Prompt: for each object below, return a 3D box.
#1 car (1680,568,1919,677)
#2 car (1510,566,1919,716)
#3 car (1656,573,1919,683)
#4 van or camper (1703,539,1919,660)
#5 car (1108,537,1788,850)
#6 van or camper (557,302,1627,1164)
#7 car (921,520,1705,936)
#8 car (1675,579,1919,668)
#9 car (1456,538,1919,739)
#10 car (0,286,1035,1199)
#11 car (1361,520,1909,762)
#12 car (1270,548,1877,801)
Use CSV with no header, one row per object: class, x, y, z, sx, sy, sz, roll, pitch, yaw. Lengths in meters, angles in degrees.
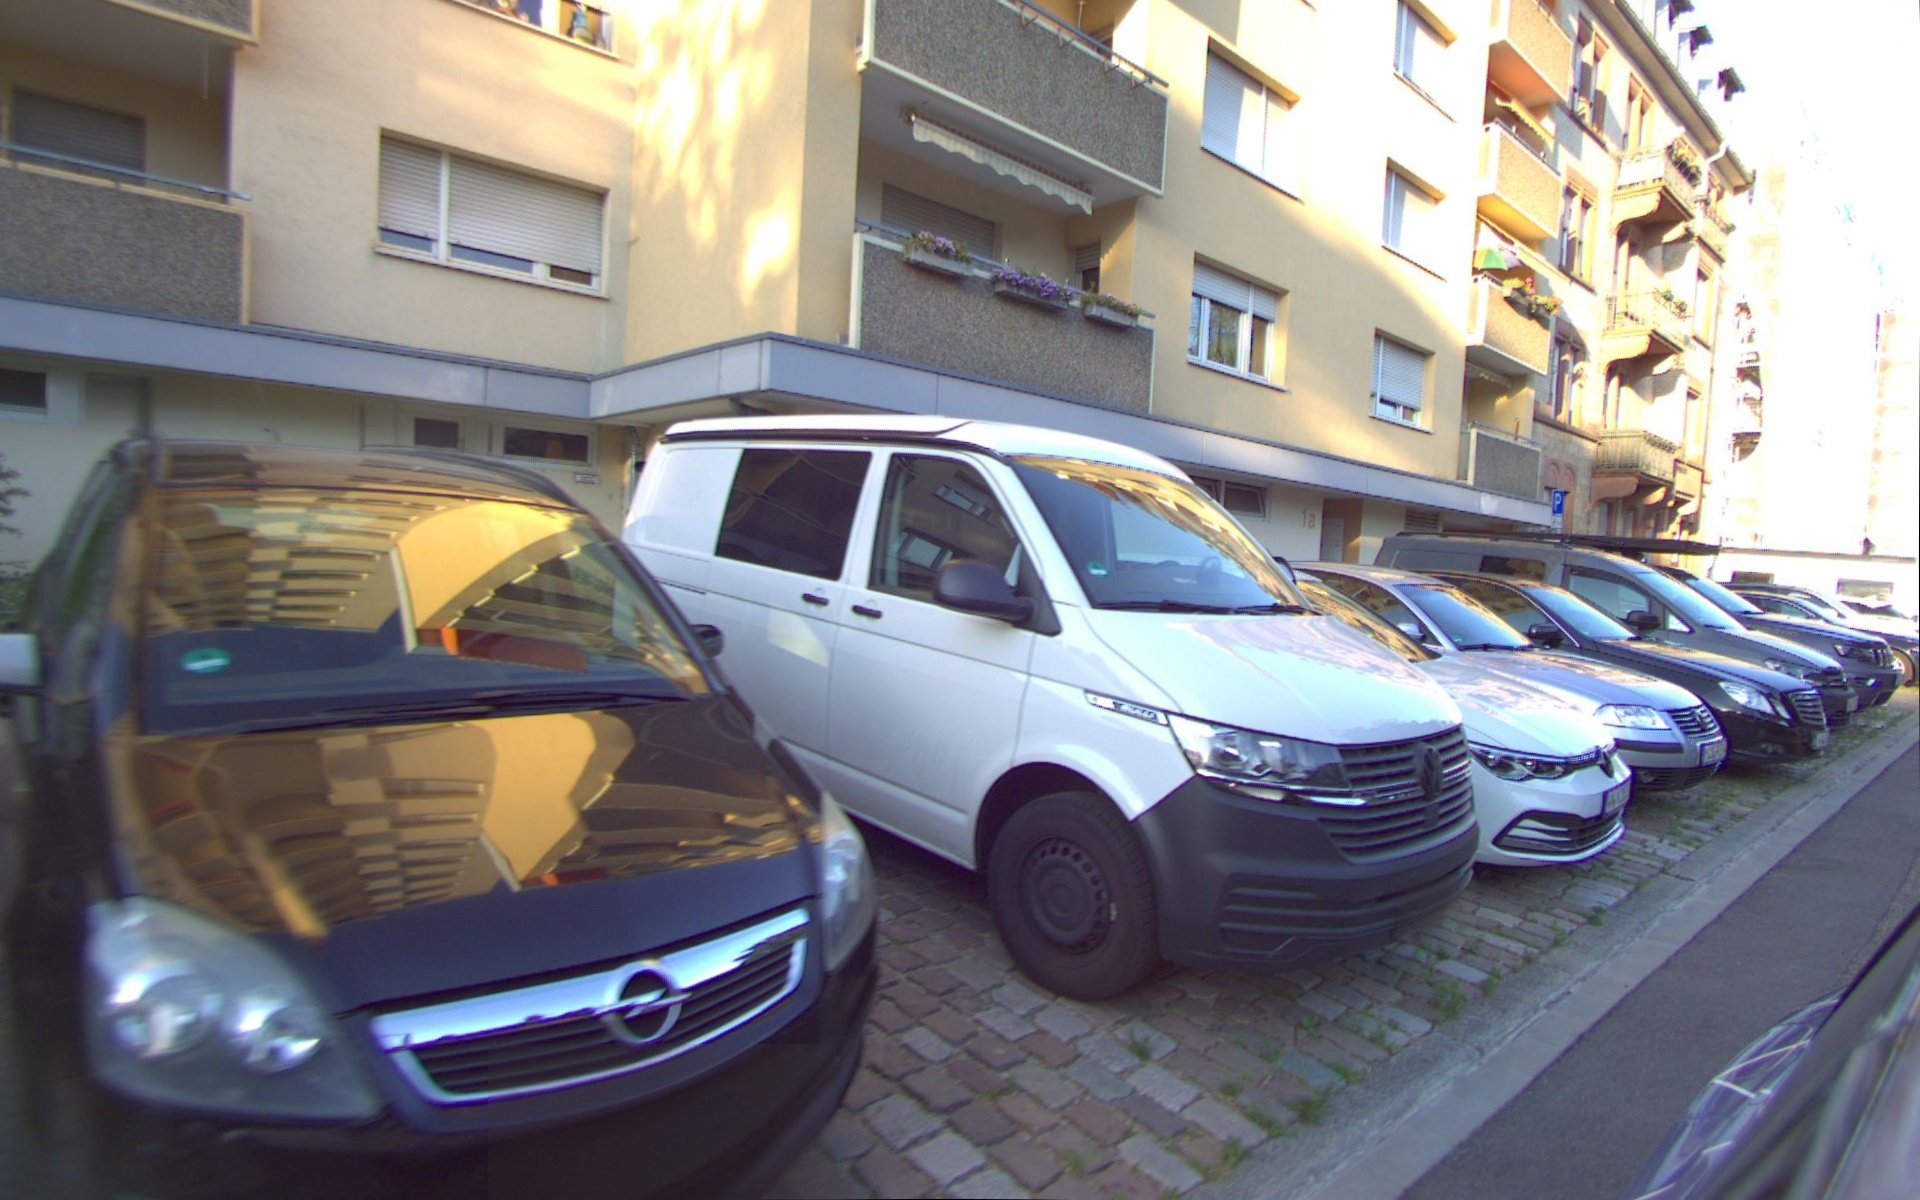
car,17.620,0.383,20.607,1.813,1.769,4.417,-2,6,-39
car,10.723,0.446,14.648,1.812,1.572,4.417,0,5,-39
car,15.847,0.448,18.791,1.813,1.572,4.416,-2,6,-40
van or camper,21.674,-0.002,24.019,2.014,2.533,6.075,1,5,-41
car,3.478,0.406,7.986,1.814,1.611,4.414,-2,6,-41
van or camper,-0.015,0.040,5.105,2.006,2.192,5.145,0,7,-42
car,1.845,0.395,6.536,1.814,1.650,4.414,-2,6,-41
car,19.020,0.440,22.794,1.813,1.638,4.415,-2,4,-39
car,8.965,0.293,12.666,1.813,1.885,4.523,0,5,-41
car,-1.966,0.220,3.356,1.752,1.680,4.335,-2,8,-43
car,7.150,0.205,11.211,1.814,2.004,4.648,-2,6,-41
car,5.354,0.418,9.383,1.814,1.581,4.414,-2,6,-41
